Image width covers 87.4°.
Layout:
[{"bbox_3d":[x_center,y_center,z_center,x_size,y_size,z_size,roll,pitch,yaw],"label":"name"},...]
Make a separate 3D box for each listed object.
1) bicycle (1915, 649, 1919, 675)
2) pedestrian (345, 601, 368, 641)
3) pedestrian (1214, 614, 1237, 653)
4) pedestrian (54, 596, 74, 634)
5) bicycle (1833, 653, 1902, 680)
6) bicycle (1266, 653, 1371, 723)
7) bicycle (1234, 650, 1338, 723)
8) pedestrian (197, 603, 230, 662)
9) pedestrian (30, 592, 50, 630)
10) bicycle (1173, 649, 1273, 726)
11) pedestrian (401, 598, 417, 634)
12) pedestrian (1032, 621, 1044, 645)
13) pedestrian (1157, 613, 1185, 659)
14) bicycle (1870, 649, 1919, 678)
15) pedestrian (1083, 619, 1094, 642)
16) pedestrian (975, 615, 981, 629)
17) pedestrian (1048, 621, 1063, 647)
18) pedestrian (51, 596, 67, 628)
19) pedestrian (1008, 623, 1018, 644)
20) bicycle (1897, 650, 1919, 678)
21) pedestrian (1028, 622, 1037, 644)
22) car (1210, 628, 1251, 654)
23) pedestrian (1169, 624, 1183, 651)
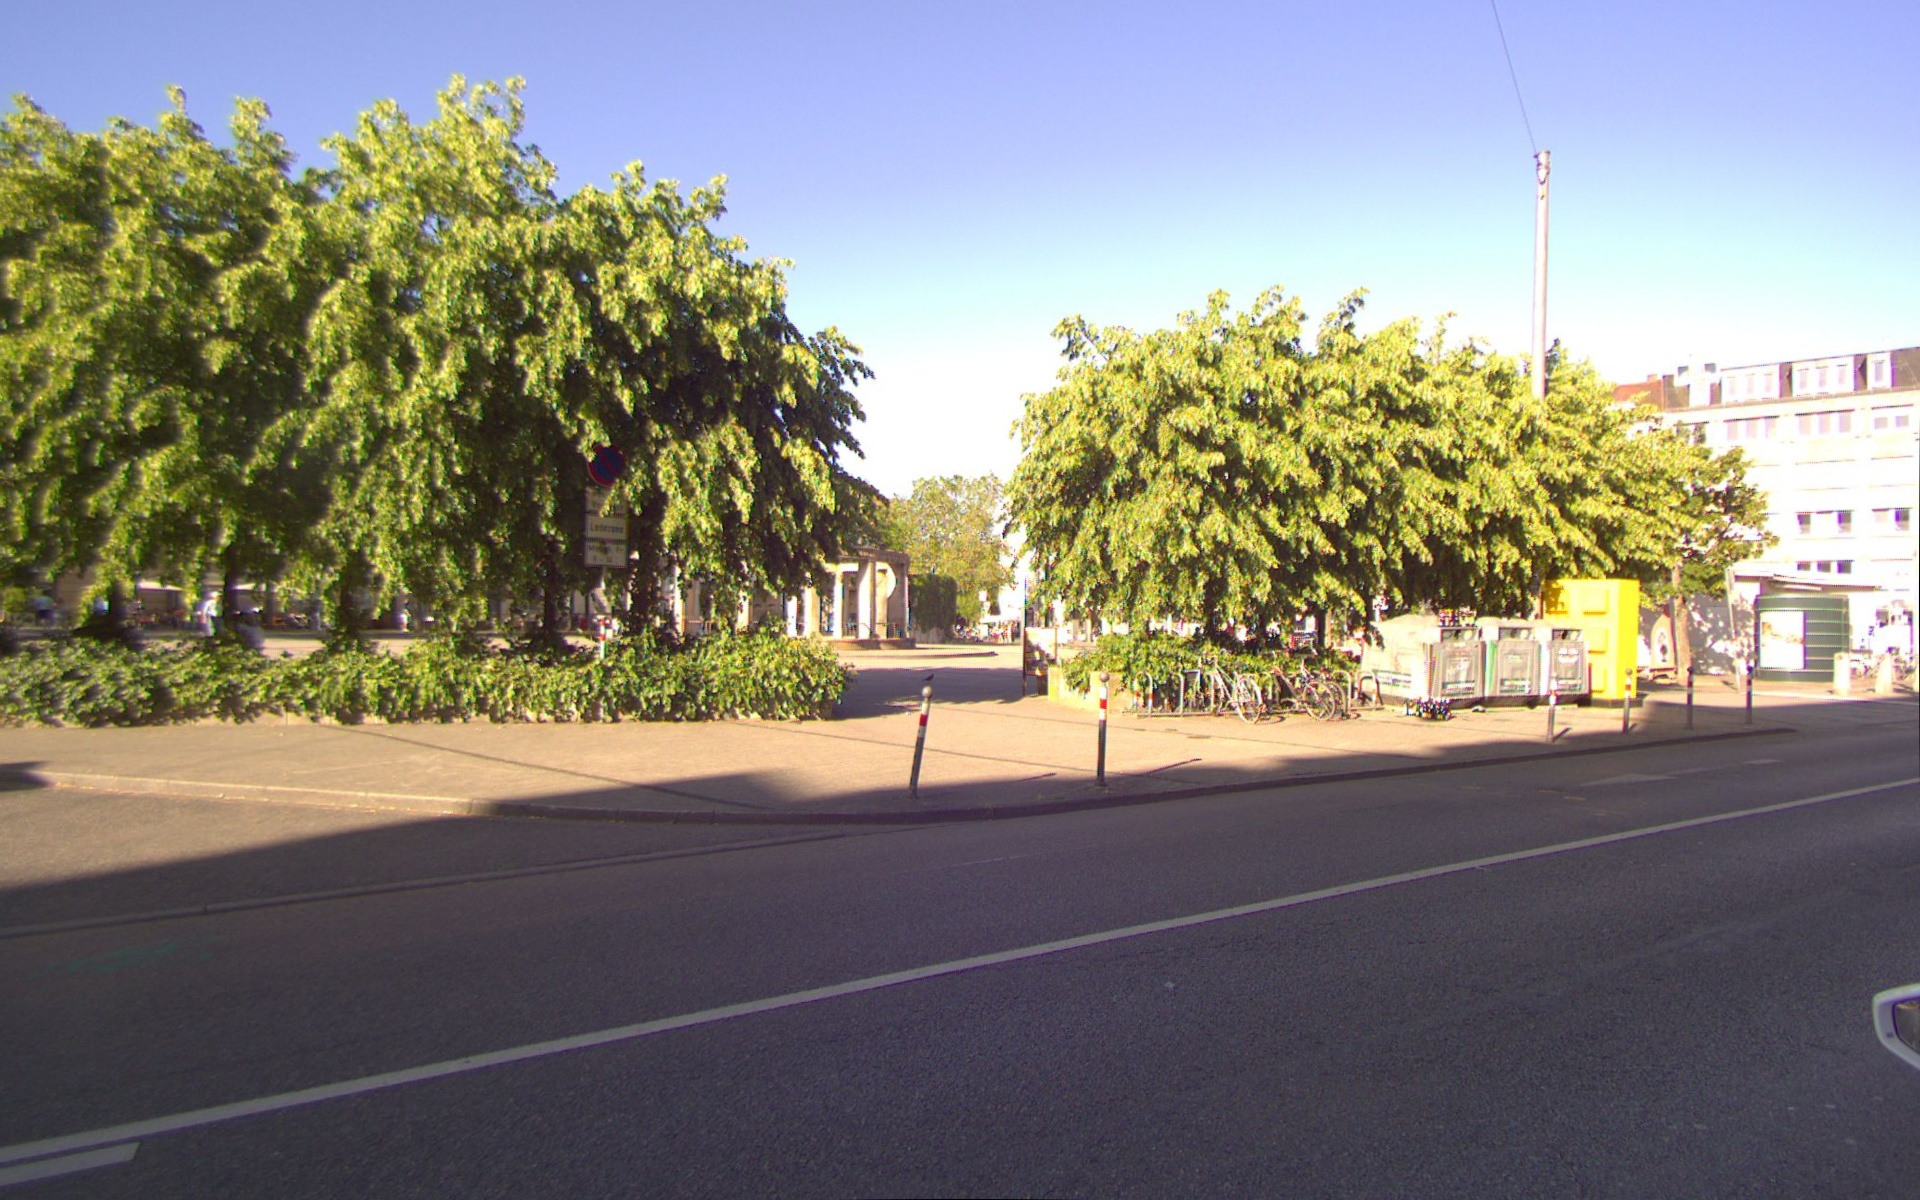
[{"bbox_3d":[36.997,2.369,37.494,0.599,0.946,1.854,2,0,-30],"label":"bicycle"},{"bbox_3d":[-26.677,0.918,44.416,0.599,1.744,0.644,2,0,37],"label":"pedestrian"},{"bbox_3d":[12.160,1.530,46.081,0.774,1.720,0.763,1,0,-6],"label":"pedestrian"},{"bbox_3d":[-42.365,0.701,47.473,0.600,1.744,0.643,2,0,45],"label":"pedestrian"},{"bbox_3d":[30.810,2.247,34.115,0.600,0.802,1.634,2,0,-33],"label":"bicycle"},{"bbox_3d":[5.813,1.404,16.408,0.508,0.968,1.898,2,0,-20],"label":"bicycle"},{"bbox_3d":[5.238,1.370,16.274,0.508,1.016,1.923,2,0,-20],"label":"bicycle"},{"bbox_3d":[-22.245,0.965,29.932,0.599,1.744,0.644,2,0,41],"label":"pedestrian"},{"bbox_3d":[-43.547,0.518,47.534,0.600,1.744,0.643,2,0,45],"label":"pedestrian"},{"bbox_3d":[4.057,1.328,15.646,0.508,1.029,1.930,2,0,-19],"label":"bicycle"},{"bbox_3d":[-30.586,0.862,55.757,0.669,1.974,0.634,2,0,-33],"label":"pedestrian"},{"bbox_3d":[6.712,2.861,86.763,0.860,2.040,0.902,2,0,-5],"label":"pedestrian"},{"bbox_3d":[9.424,1.601,44.958,0.875,2.040,0.896,1,-1,-17],"label":"pedestrian"},{"bbox_3d":[33.157,2.212,35.139,0.599,0.946,1.855,1,0,-30],"label":"bicycle"},{"bbox_3d":[12.680,3.035,99.475,0.860,2.199,0.902,2,0,-5],"label":"pedestrian"},{"bbox_3d":[2.398,2.958,135.432,0.628,1.974,0.676,2,0,-7],"label":"pedestrian"},{"bbox_3d":[7.847,2.786,82.436,1.014,2.040,1.159,2,0,-5],"label":"pedestrian"},{"bbox_3d":[-43.070,0.557,48.013,0.536,1.521,0.546,2,0,-42],"label":"pedestrian"},{"bbox_3d":[4.621,2.920,87.516,0.718,1.862,0.697,2,0,-5],"label":"pedestrian"},{"bbox_3d":[34.991,2.331,36.071,0.599,0.946,1.854,2,0,-30],"label":"bicycle"},{"bbox_3d":[6.443,2.923,88.899,0.628,1.974,0.676,2,0,-7],"label":"pedestrian"},{"bbox_3d":[15.373,2.311,57.212,1.658,1.405,3.575,1,-1,5],"label":"car"},{"bbox_3d":[14.218,2.436,66.166,0.741,1.740,0.854,1,-1,4],"label":"pedestrian"}]
